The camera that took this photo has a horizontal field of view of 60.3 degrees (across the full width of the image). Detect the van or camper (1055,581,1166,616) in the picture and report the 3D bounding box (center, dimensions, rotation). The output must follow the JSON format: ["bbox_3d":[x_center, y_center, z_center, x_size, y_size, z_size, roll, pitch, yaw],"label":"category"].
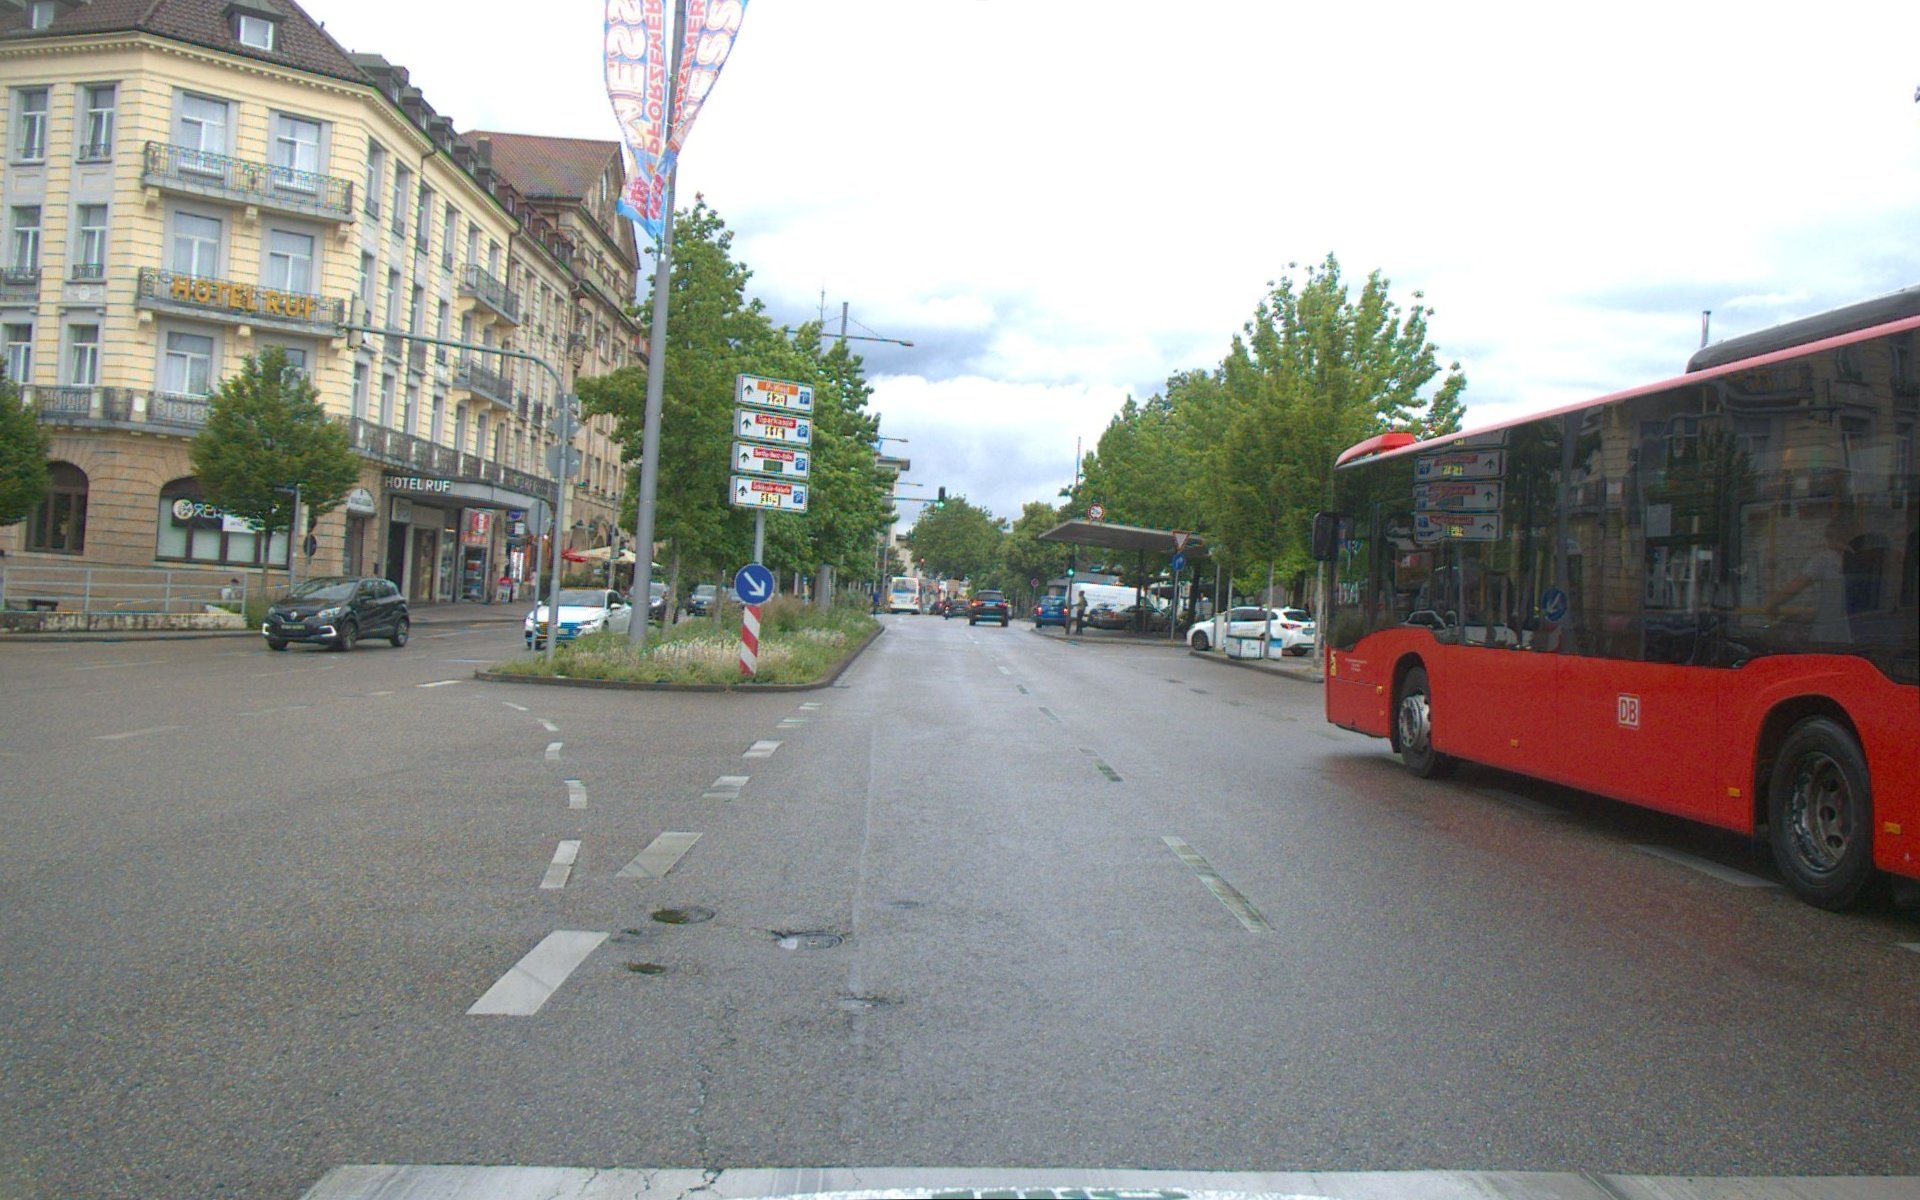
[{"bbox_3d":[9.413,-0.075,102.966,6.675,2.049,2.364,1,-1,-27],"label":"van or camper"}]

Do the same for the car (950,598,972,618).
[{"bbox_3d":[0.071,0.605,130.162,1.673,1.473,3.999,1,0,-1],"label":"car"}]

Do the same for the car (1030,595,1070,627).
[{"bbox_3d":[4.629,0.553,85.452,1.779,1.557,3.999,1,0,-1],"label":"car"}]

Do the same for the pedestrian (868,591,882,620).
[{"bbox_3d":[-5.232,0.338,102.366,0.742,1.730,0.560,2,0,6],"label":"pedestrian"}]

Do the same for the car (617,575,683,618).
[{"bbox_3d":[-11.427,-0.135,61.195,1.597,1.502,4.026,2,0,1],"label":"car"}]

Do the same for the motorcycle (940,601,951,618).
[{"bbox_3d":[-1.003,0.662,113.679,0.750,1.095,2.175,2,0,-1],"label":"motorcycle"}]

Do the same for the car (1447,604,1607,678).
[{"bbox_3d":[13.042,0.890,38.348,1.875,1.551,4.740,1,0,-3],"label":"car"}]

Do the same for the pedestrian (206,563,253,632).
[{"bbox_3d":[-20.781,-0.064,47.080,0.845,1.911,1.022,2,0,-1],"label":"pedestrian"}]

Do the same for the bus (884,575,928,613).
[{"bbox_3d":[-5.099,-0.570,153.288,3.685,3.265,15.516,1,0,-3],"label":"bus"}]

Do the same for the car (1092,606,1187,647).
[{"bbox_3d":[8.950,1.313,82.387,4.273,1.890,1.988,2,0,-21],"label":"car"}]

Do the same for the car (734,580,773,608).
[{"bbox_3d":[-12.764,-0.397,102.390,1.718,1.392,4.063,2,5,2],"label":"car"}]

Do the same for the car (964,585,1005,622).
[{"bbox_3d":[1.239,0.158,85.998,1.953,1.837,4.689,1,0,-1],"label":"car"}]

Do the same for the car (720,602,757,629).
[{"bbox_3d":[-12.138,0.824,90.656,1.720,1.393,4.056,2,0,-4],"label":"car"}]

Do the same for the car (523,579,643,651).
[{"bbox_3d":[-9.076,0.308,40.226,1.689,1.405,4.862,1,3,1],"label":"car"}]

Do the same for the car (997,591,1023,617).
[{"bbox_3d":[3.860,0.301,127.488,1.752,1.892,3.999,1,0,-1],"label":"car"}]

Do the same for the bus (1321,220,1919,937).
[{"bbox_3d":[5.380,-0.091,11.790,2.689,3.229,10.186,1,0,-4],"label":"bus"}]

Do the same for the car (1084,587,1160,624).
[{"bbox_3d":[9.487,0.317,96.779,3.929,2.049,1.988,1,0,-21],"label":"car"}]

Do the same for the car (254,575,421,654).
[{"bbox_3d":[-13.526,0.270,36.198,1.734,1.557,4.081,2,1,6],"label":"car"}]

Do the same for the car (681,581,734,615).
[{"bbox_3d":[-11.754,-0.098,77.285,1.718,1.466,4.060,1,0,1],"label":"car"}]

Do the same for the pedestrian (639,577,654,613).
[{"bbox_3d":[-15.385,-0.251,81.083,0.563,1.762,0.609,2,0,-1],"label":"pedestrian"}]

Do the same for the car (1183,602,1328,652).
[{"bbox_3d":[9.100,0.820,51.183,1.764,1.409,4.303,1,0,-41],"label":"car"}]

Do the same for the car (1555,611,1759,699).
[{"bbox_3d":[13.248,0.996,31.771,1.809,1.477,4.664,1,0,-2],"label":"car"}]

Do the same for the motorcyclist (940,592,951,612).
[{"bbox_3d":[-0.993,0.154,113.683,0.749,1.355,0.866,2,0,-1],"label":"motorcyclist"}]

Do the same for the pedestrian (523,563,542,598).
[{"bbox_3d":[-19.159,-0.881,74.133,0.656,1.537,0.512,2,0,-39],"label":"pedestrian"}]

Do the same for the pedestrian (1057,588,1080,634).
[{"bbox_3d":[4.372,0.452,66.736,0.705,1.822,0.663,2,0,-12],"label":"pedestrian"}]
